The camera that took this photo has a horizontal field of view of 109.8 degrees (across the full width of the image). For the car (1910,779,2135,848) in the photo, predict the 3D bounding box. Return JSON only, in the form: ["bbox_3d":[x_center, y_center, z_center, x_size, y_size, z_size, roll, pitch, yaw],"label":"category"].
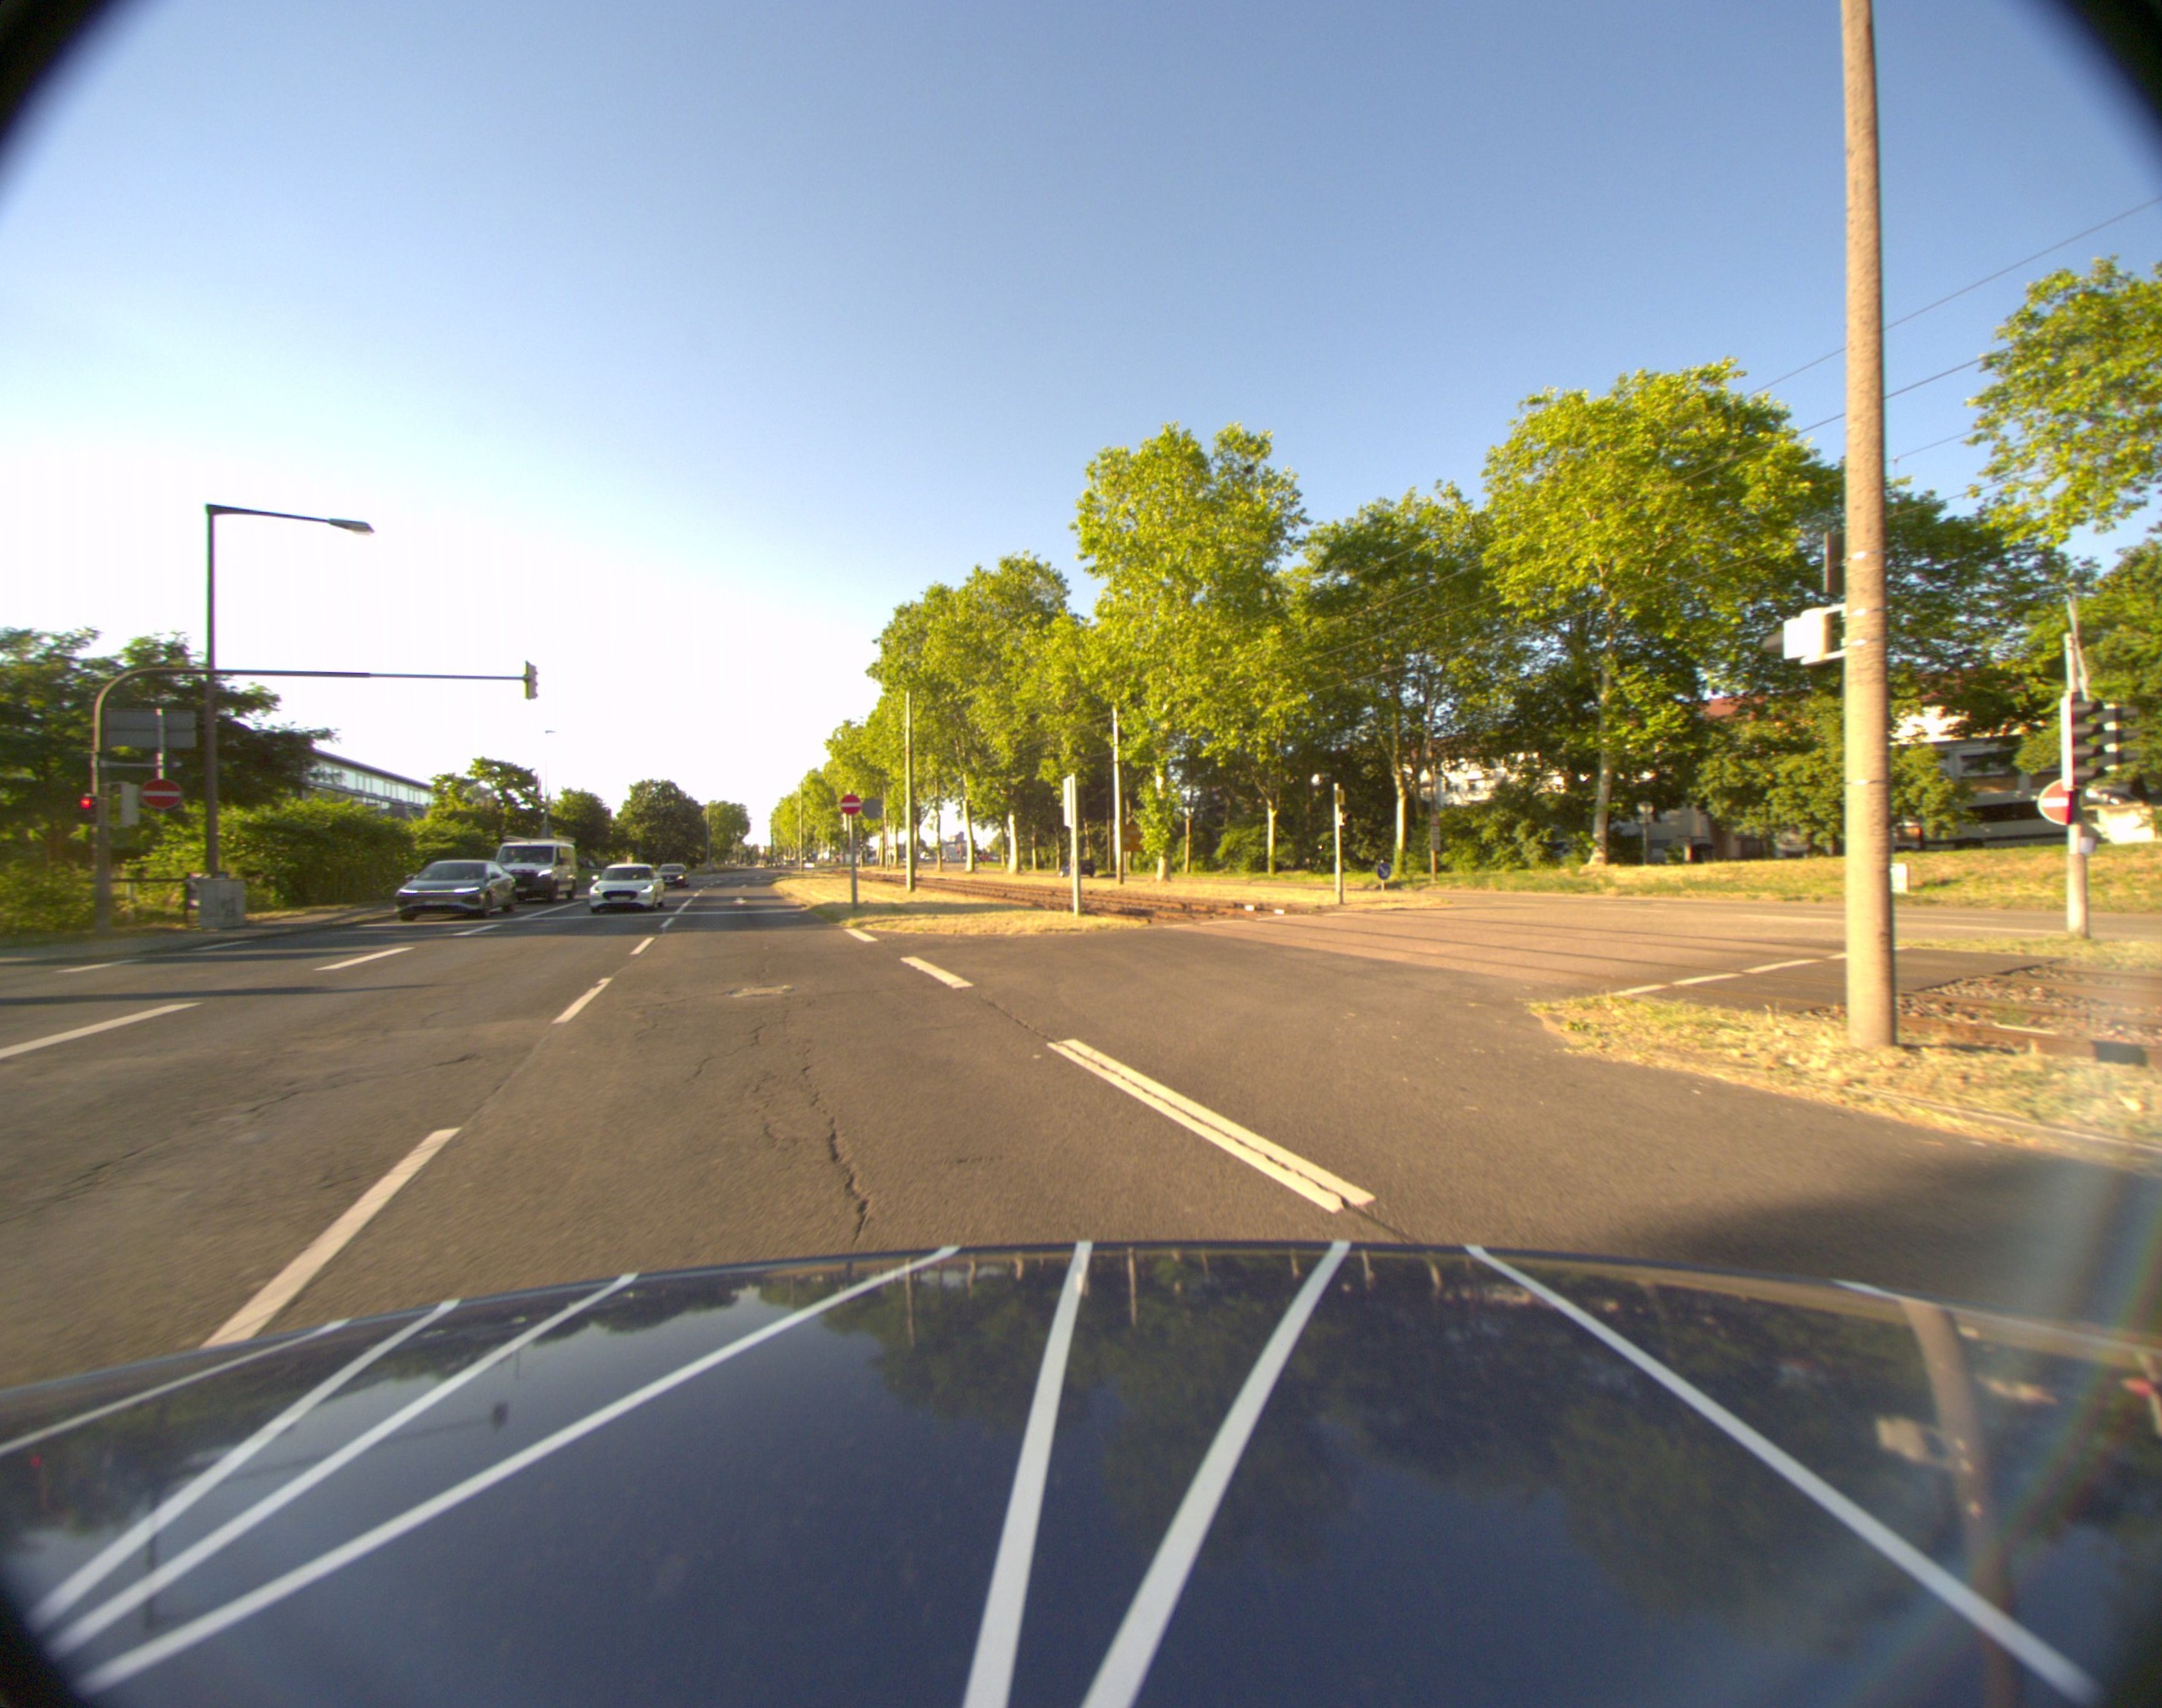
[{"bbox_3d":[38.947,-1.553,31.705,1.808,2.498,5.619,0,-1,-20],"label":"car"}]

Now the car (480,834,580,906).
[{"bbox_3d":[-21.528,0.584,29.973,2.012,2.550,5.865,0,0,-24],"label":"car"}]

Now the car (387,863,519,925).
[{"bbox_3d":[-18.195,1.070,22.263,1.879,1.608,4.538,0,-1,-25],"label":"car"}]

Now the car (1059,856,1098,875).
[{"bbox_3d":[-0.243,0.916,60.672,1.632,1.433,3.977,0,-1,-24],"label":"car"}]

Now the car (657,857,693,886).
[{"bbox_3d":[-24.808,1.048,46.410,1.817,1.674,3.991,0,0,-29],"label":"car"}]

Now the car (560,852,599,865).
[{"bbox_3d":[-62.447,0.604,94.608,3.808,1.557,1.754,0,-1,-43],"label":"car"}]

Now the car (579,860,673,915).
[{"bbox_3d":[-14.485,0.995,24.420,1.878,1.608,3.993,0,-1,-20],"label":"car"}]
